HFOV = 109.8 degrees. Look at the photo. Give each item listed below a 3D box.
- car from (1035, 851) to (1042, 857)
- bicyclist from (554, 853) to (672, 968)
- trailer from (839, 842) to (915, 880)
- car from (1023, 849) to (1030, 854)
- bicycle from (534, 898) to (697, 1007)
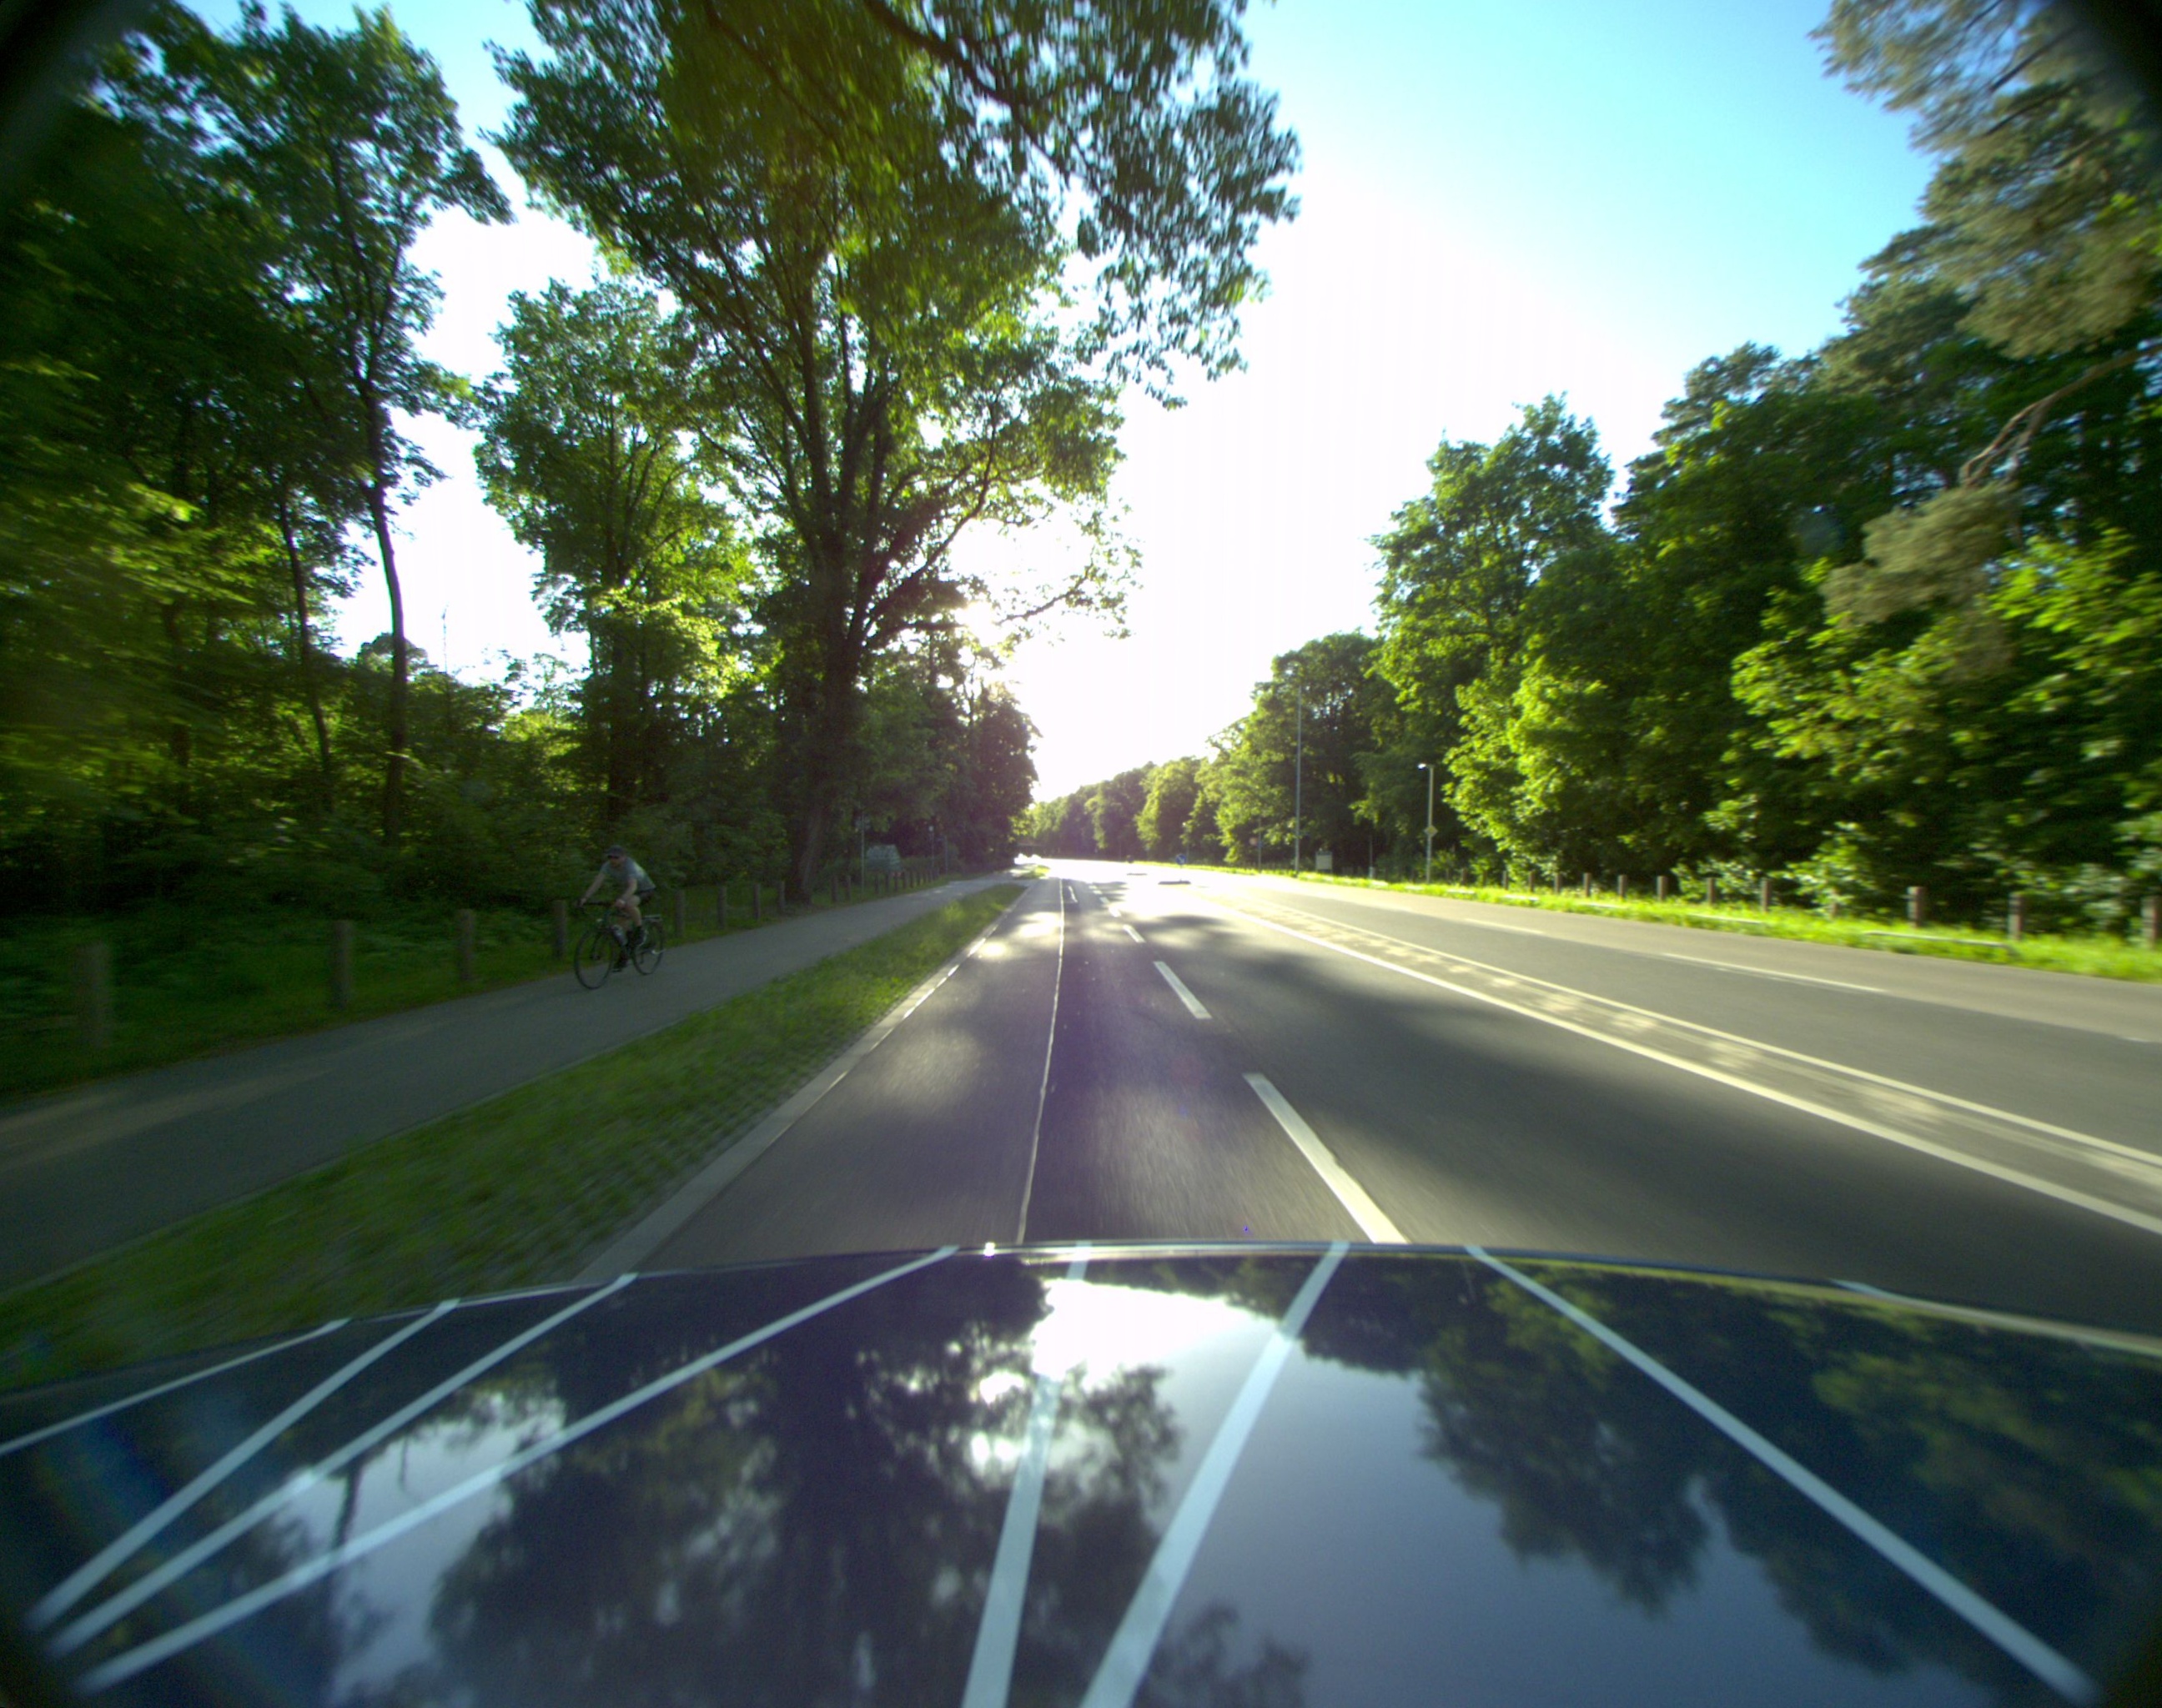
[{"bbox_3d":[-12.208,0.056,218.620,1.827,1.674,3.997,0,0,-7],"label":"car"},{"bbox_3d":[-5.569,0.639,9.110,0.714,1.281,1.104,-1,1,-1],"label":"bicyclist"},{"bbox_3d":[-11.461,0.344,42.579,4.214,2.010,2.004,0,1,40],"label":"trailer"},{"bbox_3d":[-18.056,-0.732,250.965,1.828,1.674,3.996,0,0,-11],"label":"car"},{"bbox_3d":[-5.561,1.128,9.254,0.714,1.049,2.052,-1,0,-1],"label":"bicycle"}]
